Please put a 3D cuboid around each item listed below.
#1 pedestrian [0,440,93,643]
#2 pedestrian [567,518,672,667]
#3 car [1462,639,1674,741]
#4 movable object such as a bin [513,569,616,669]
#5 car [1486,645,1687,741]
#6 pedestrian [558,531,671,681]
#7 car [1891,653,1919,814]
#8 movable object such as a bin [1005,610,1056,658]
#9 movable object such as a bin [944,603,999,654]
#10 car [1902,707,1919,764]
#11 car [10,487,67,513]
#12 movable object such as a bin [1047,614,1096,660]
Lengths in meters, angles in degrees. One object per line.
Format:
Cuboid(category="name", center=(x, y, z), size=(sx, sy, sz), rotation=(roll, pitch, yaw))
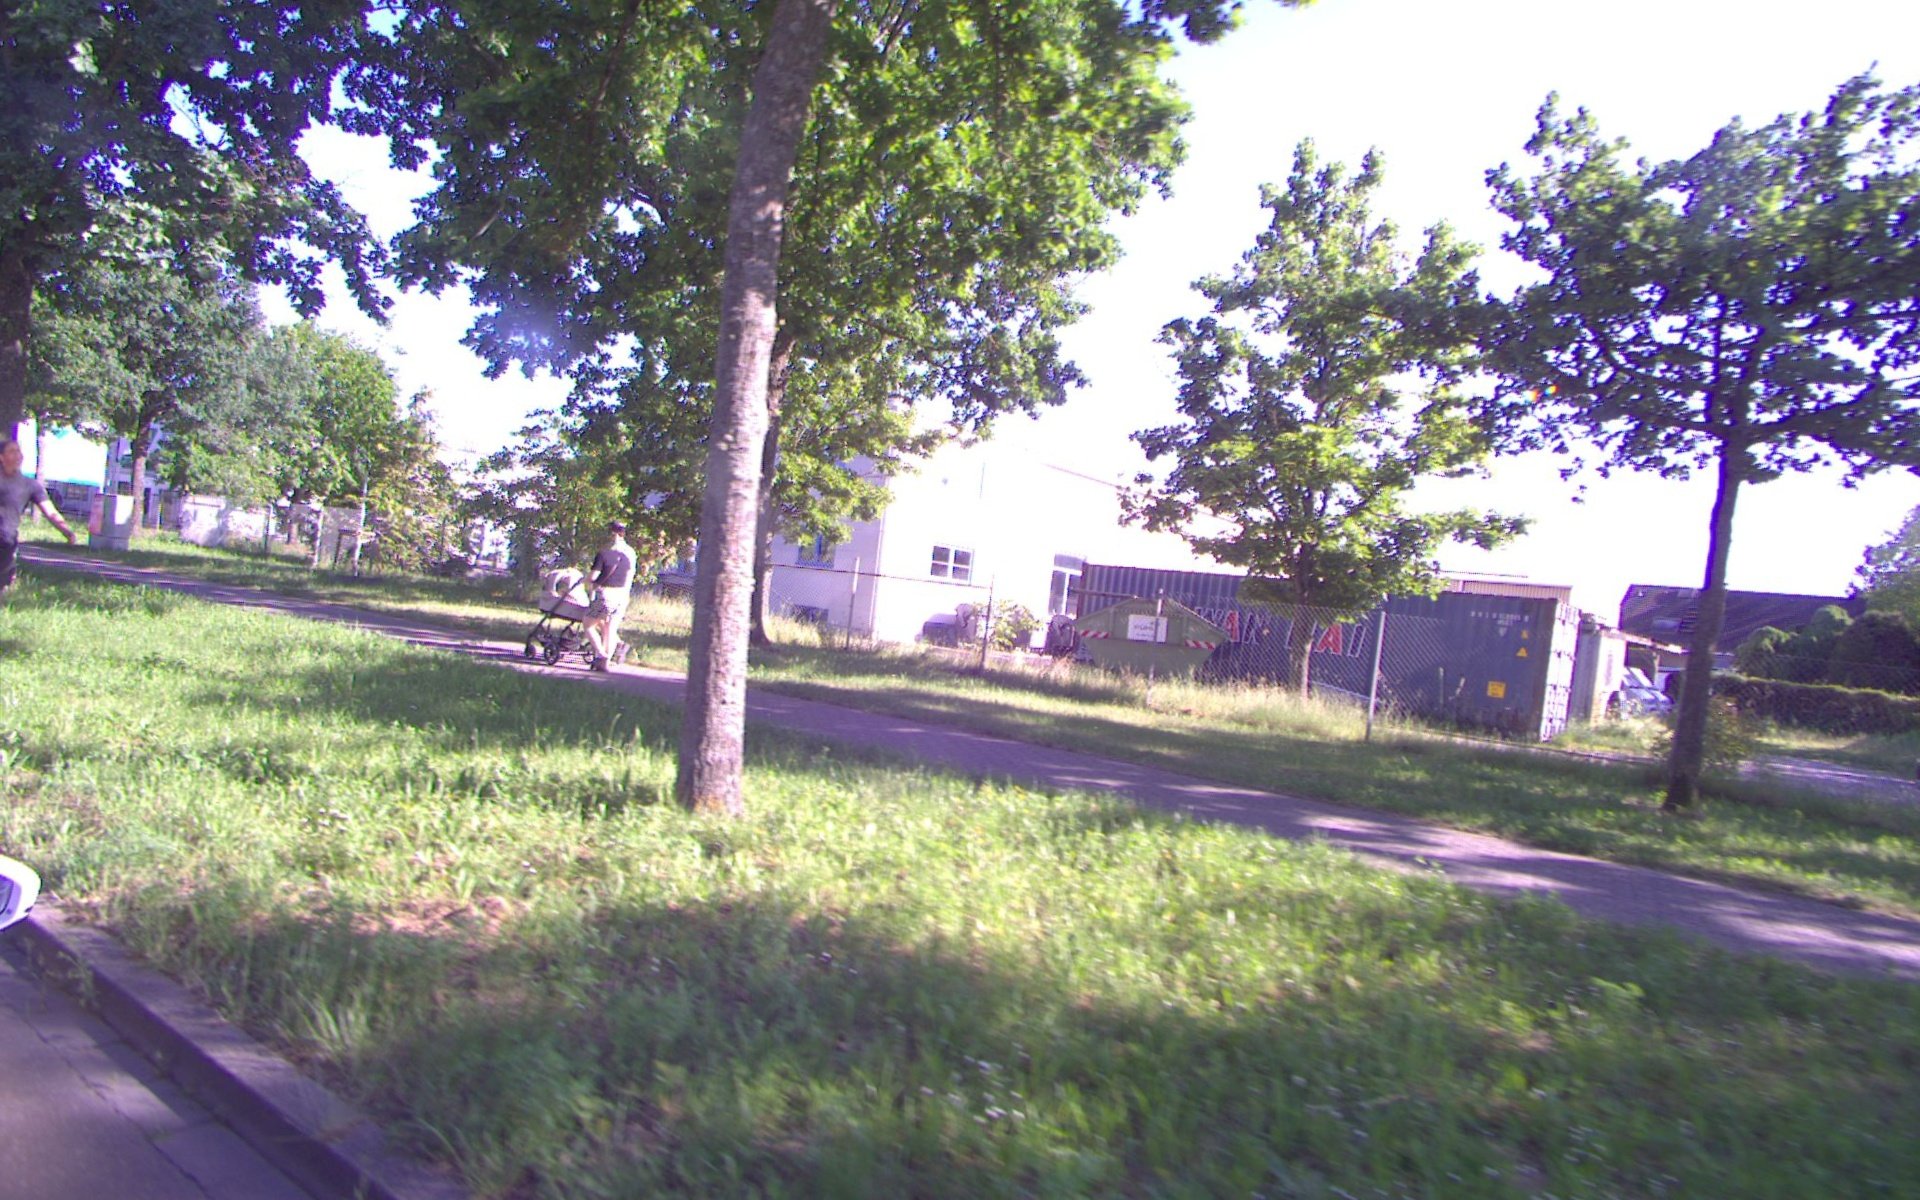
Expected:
Cuboid(category="pedestrian", center=(-8.421, -0.539, 8.701), size=(1.081, 1.672, 1.020), rotation=(7, 1, 32))
Cuboid(category="pedestrian", center=(-4.334, -0.087, 12.796), size=(0.853, 1.777, 0.726), rotation=(7, 1, 32))
Cuboid(category="car", center=(18.379, 2.698, 30.580), size=(4.945, 2.087, 2.081), rotation=(10, 1, 44))
Cuboid(category="movable object such as a bin", center=(-4.780, 0.223, 12.160), size=(0.853, 1.095, 0.726), rotation=(7, 3, 32))
Cuboid(category="car", center=(20.038, 2.943, 32.342), size=(4.945, 2.087, 2.081), rotation=(10, 1, 44))
Cuboid(category="pedestrian", center=(-4.008, 0.075, 11.676), size=(0.853, 1.623, 0.726), rotation=(7, 1, 32))
Cuboid(category="car", center=(18.169, 2.448, 15.699), size=(4.771, 2.676, 2.162), rotation=(7, 1, 32))
Cuboid(category="movable object such as a bin", center=(2.347, 1.131, 33.621), size=(1.180, 1.424, 1.047), rotation=(6, 1, -41))
Cuboid(category="movable object such as a bin", center=(0.351, 0.896, 31.535), size=(1.180, 1.424, 1.047), rotation=(6, 1, -41))
Cuboid(category="car", center=(29.996, 4.209, 28.942), size=(3.942, 1.612, 1.991), rotation=(7, 0, 40))
Cuboid(category="car", center=(-67.245, -7.300, 73.400), size=(3.701, 1.401, 1.769), rotation=(7, 0, 26))
Cuboid(category="movable object such as a bin", center=(3.917, 1.296, 35.234), size=(1.180, 1.424, 1.047), rotation=(6, 1, -41))
